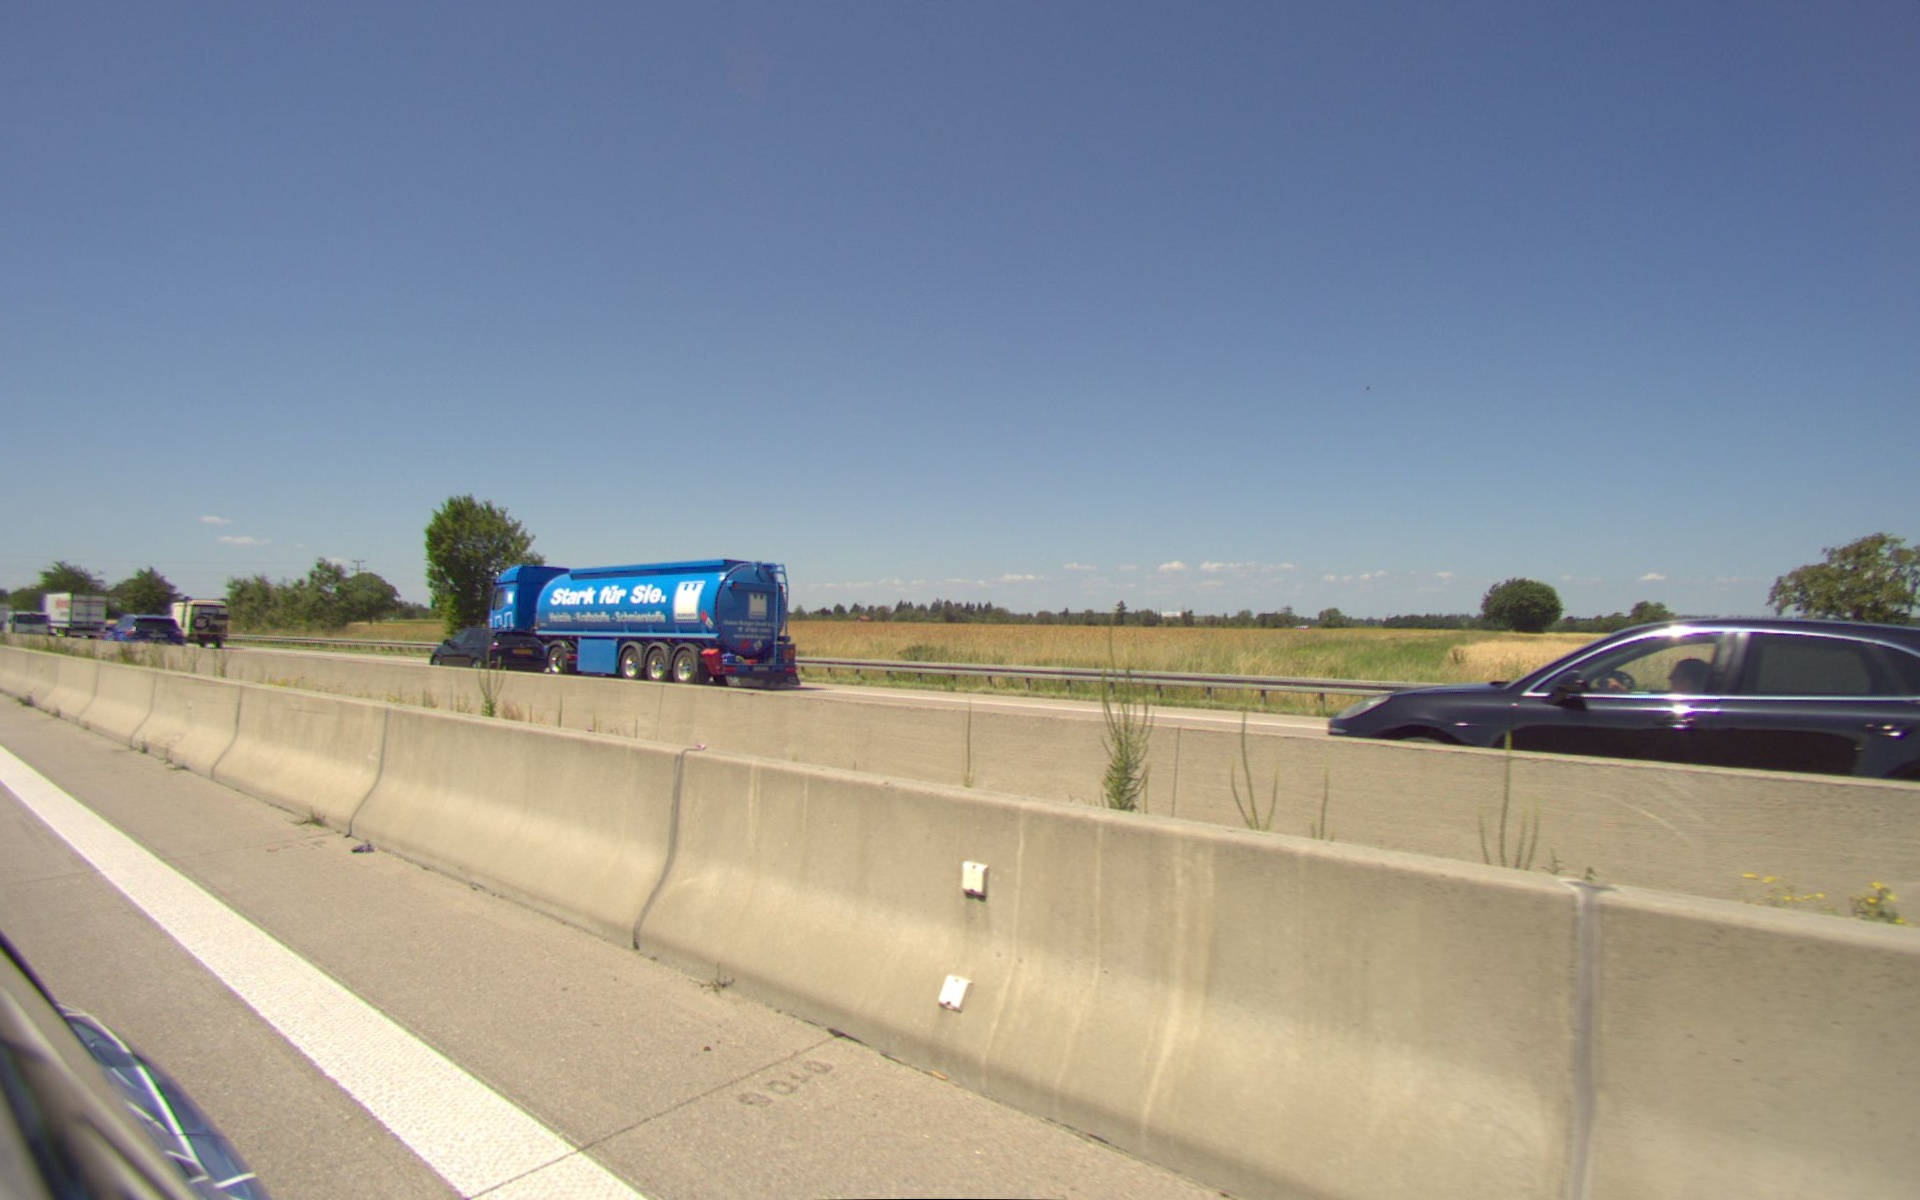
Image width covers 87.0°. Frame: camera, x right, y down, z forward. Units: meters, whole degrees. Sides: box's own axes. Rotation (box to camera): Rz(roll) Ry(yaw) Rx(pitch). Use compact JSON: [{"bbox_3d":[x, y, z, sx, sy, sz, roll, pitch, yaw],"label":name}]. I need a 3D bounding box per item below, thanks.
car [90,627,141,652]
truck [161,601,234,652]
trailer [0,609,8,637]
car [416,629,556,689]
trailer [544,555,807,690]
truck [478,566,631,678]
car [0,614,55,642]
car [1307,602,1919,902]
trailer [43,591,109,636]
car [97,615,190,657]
[{"bbox_3d":[-51.369,2.381,61.510,4.485,1.471,1.670,-1,-2,41],"label":"car"},{"bbox_3d":[-48.775,1.669,64.652,6.974,3.107,2.298,-1,0,41],"label":"truck"},{"bbox_3d":[-134.571,3.220,140.007,13.820,3.831,2.741,-1,0,41],"label":"trailer"},{"bbox_3d":[-13.007,1.544,27.660,4.705,1.459,1.702,-1,0,41],"label":"car"},{"bbox_3d":[-8.364,0.626,28.839,9.247,3.297,2.489,-1,0,41],"label":"trailer"},{"bbox_3d":[-13.317,0.700,33.104,5.260,3.393,2.458,-1,0,41],"label":"truck"},{"bbox_3d":[-58.672,1.778,63.494,5.642,1.692,2.116,-1,-3,41],"label":"car"},{"bbox_3d":[5.070,0.826,6.676,4.886,1.569,1.920,-1,0,41],"label":"car"},{"bbox_3d":[-81.137,1.281,92.747,12.504,3.938,2.878,-1,0,41],"label":"trailer"},{"bbox_3d":[-29.632,1.281,36.684,4.449,1.358,1.761,-2,1,40],"label":"car"}]
